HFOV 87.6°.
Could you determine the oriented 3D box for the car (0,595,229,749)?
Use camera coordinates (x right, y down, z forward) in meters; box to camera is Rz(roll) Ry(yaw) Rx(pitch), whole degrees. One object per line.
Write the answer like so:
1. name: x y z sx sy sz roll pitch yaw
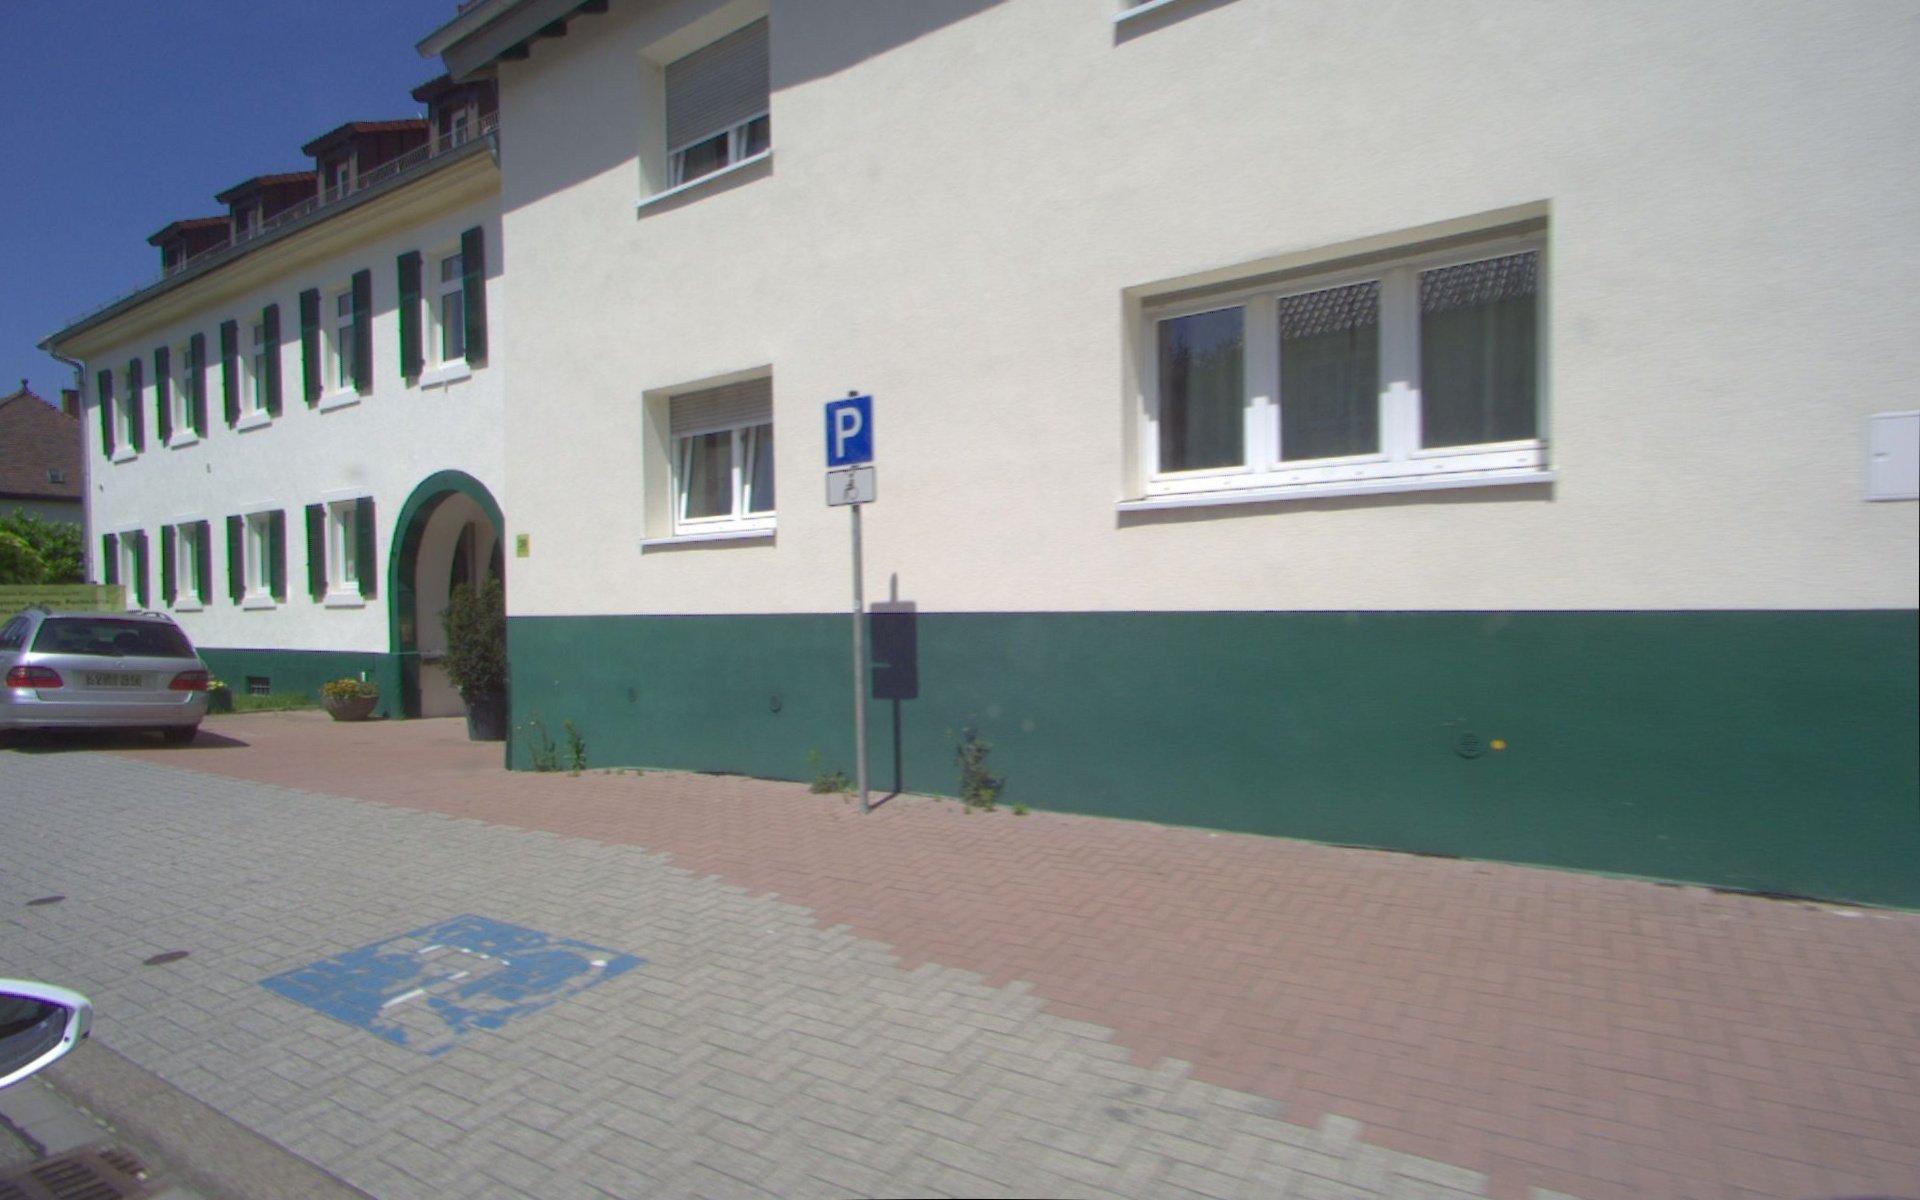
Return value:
1. car: -10.487 0.797 11.913 4.828 1.480 1.808 -1 -5 41
